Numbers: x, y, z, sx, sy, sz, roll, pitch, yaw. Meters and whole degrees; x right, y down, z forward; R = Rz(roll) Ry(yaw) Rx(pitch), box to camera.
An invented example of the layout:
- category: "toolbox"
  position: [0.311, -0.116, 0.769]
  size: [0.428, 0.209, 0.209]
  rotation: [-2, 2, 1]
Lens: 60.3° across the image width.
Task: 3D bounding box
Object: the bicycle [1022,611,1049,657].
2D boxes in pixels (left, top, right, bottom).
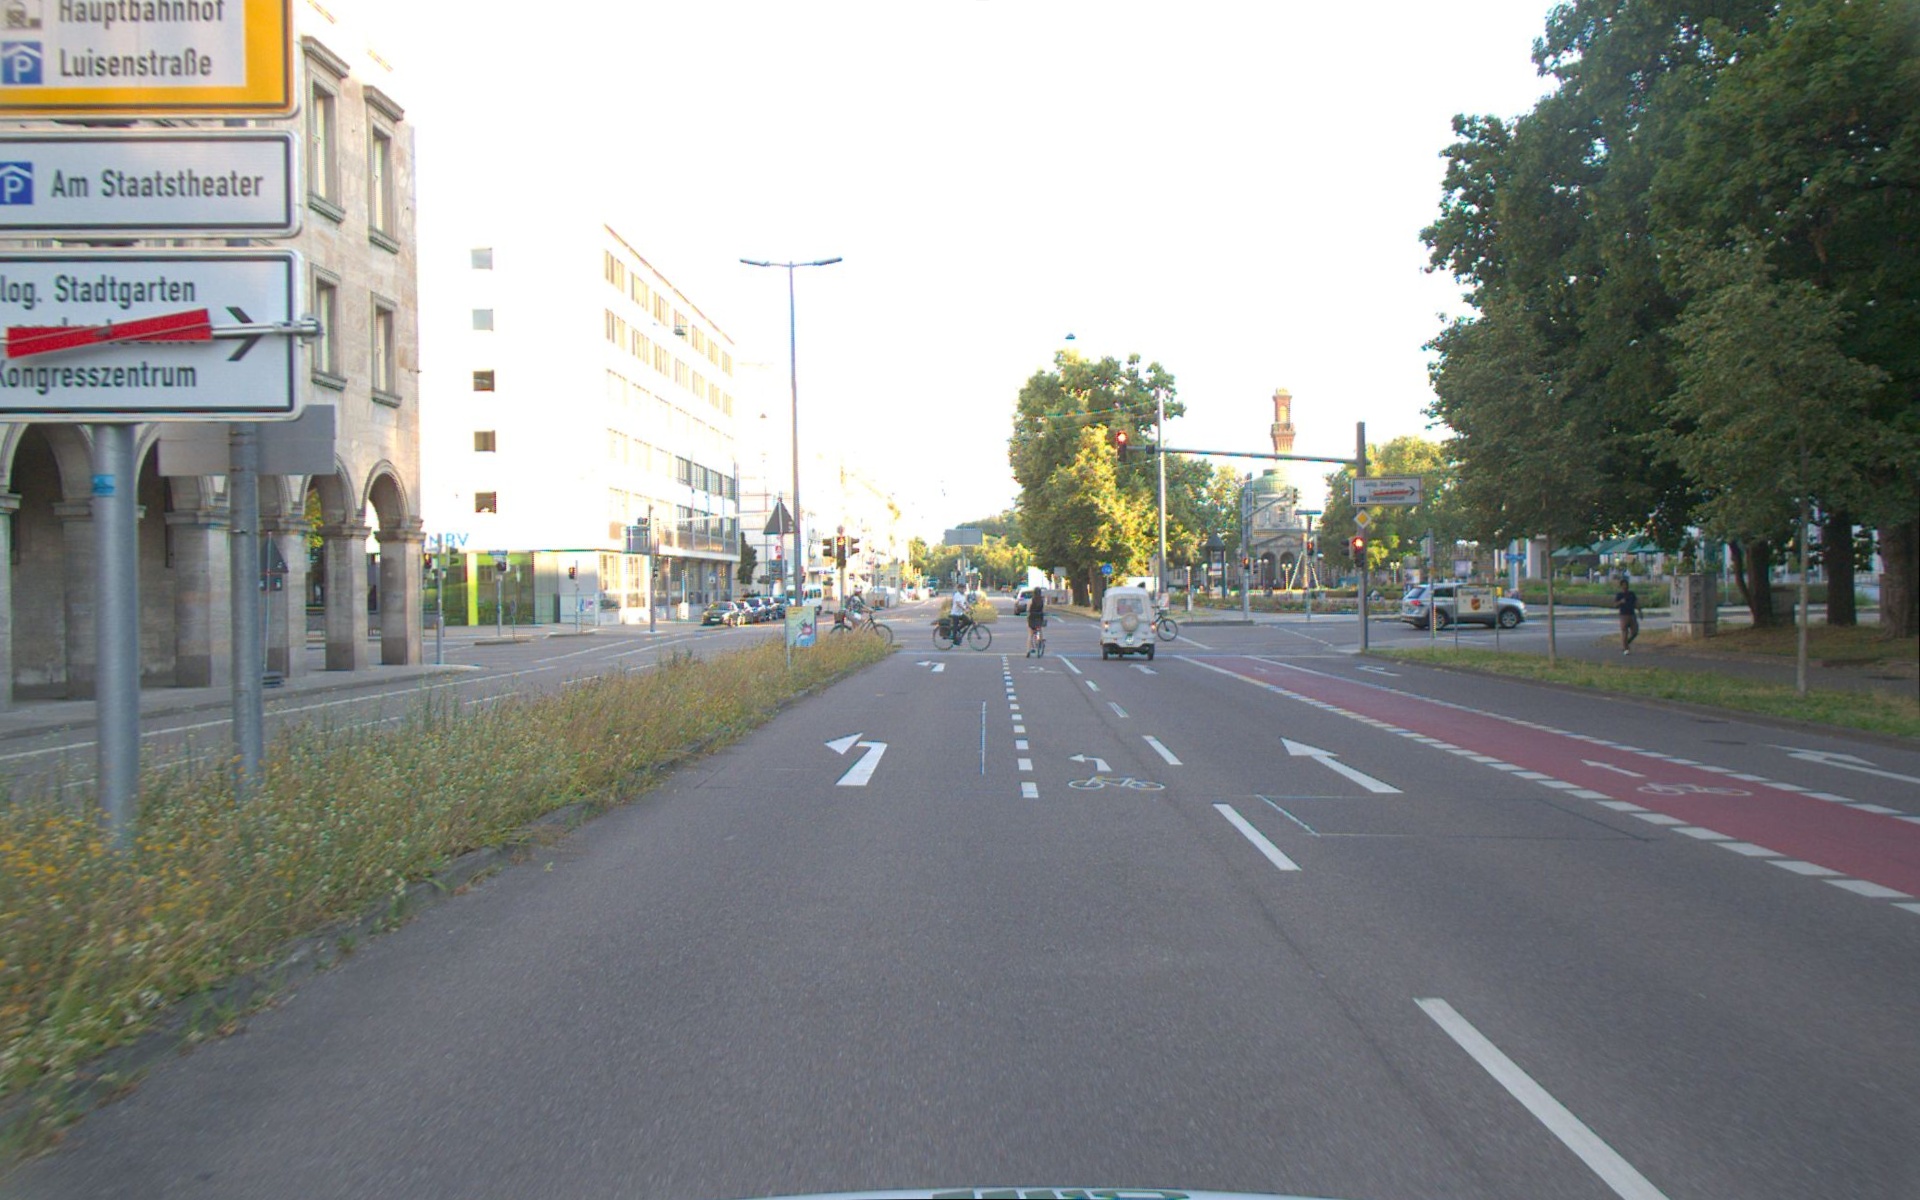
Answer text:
- category: "bicycle"
  position: [1.907, 0.843, 41.837]
  size: [0.624, 1.087, 2.069]
  rotation: [0, 0, 1]

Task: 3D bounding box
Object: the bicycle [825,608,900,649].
- category: "bicycle"
  position: [-2.709, 0.798, 46.149]
  size: [1.972, 1.087, 0.731]
  rotation: [1, 0, 4]

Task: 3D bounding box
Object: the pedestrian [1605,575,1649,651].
- category: "pedestrian"
  position: [15.487, 0.298, 38.410]
  size: [0.681, 1.723, 0.748]
  rotation: [-1, 0, 0]

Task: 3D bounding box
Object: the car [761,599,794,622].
- category: "car"
  position: [-13.671, 0.802, 124.231]
  size: [1.758, 1.501, 4.001]
  rotation: [-2, -2, 4]

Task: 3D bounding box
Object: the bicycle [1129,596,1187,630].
- category: "bicycle"
  position: [6.437, 0.418, 53.854]
  size: [1.857, 1.087, 0.731]
  rotation: [0, 0, 4]

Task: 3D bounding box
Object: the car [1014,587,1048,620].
- category: "car"
  position: [4.549, 0.202, 106.632]
  size: [1.953, 2.049, 4.000]
  rotation: [-1, 0, 0]

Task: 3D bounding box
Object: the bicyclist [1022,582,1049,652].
- category: "bicyclist"
  position: [1.884, 0.415, 41.522]
  size: [0.615, 1.723, 0.748]
  rotation: [-1, 0, 0]

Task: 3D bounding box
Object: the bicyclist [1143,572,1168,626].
- category: "bicyclist"
  position: [6.363, -0.033, 53.858]
  size: [0.730, 1.723, 0.715]
  rotation: [-1, 0, 4]

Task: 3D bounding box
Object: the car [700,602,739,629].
- category: "car"
  position: [-14.729, 0.991, 101.281]
  size: [1.759, 1.501, 3.999]
  rotation: [-1, -2, 0]

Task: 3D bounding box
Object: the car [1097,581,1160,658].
- category: "car"
  position: [4.177, 0.462, 41.227]
  size: [1.429, 1.812, 2.566]
  rotation: [-1, 1, 3]

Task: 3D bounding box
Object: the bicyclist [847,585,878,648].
- category: "bicyclist"
  position: [-2.714, 0.448, 46.108]
  size: [0.730, 1.723, 0.716]
  rotation: [-1, 0, 5]

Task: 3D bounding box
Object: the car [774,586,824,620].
- category: "car"
  position: [-12.692, 0.245, 130.815]
  size: [2.130, 2.427, 5.993]
  rotation: [-2, -2, 12]

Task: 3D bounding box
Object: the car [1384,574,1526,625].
- category: "car"
  position: [17.665, -0.033, 59.156]
  size: [4.447, 1.677, 1.997]
  rotation: [-1, 0, -7]

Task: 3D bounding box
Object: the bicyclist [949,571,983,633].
- category: "bicyclist"
  position: [0.182, 0.054, 47.255]
  size: [0.730, 1.723, 0.765]
  rotation: [-1, 0, 17]

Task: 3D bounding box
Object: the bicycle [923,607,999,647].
- category: "bicycle"
  position: [0.035, 0.771, 47.311]
  size: [2.014, 1.087, 0.787]
  rotation: [-1, 0, 18]
